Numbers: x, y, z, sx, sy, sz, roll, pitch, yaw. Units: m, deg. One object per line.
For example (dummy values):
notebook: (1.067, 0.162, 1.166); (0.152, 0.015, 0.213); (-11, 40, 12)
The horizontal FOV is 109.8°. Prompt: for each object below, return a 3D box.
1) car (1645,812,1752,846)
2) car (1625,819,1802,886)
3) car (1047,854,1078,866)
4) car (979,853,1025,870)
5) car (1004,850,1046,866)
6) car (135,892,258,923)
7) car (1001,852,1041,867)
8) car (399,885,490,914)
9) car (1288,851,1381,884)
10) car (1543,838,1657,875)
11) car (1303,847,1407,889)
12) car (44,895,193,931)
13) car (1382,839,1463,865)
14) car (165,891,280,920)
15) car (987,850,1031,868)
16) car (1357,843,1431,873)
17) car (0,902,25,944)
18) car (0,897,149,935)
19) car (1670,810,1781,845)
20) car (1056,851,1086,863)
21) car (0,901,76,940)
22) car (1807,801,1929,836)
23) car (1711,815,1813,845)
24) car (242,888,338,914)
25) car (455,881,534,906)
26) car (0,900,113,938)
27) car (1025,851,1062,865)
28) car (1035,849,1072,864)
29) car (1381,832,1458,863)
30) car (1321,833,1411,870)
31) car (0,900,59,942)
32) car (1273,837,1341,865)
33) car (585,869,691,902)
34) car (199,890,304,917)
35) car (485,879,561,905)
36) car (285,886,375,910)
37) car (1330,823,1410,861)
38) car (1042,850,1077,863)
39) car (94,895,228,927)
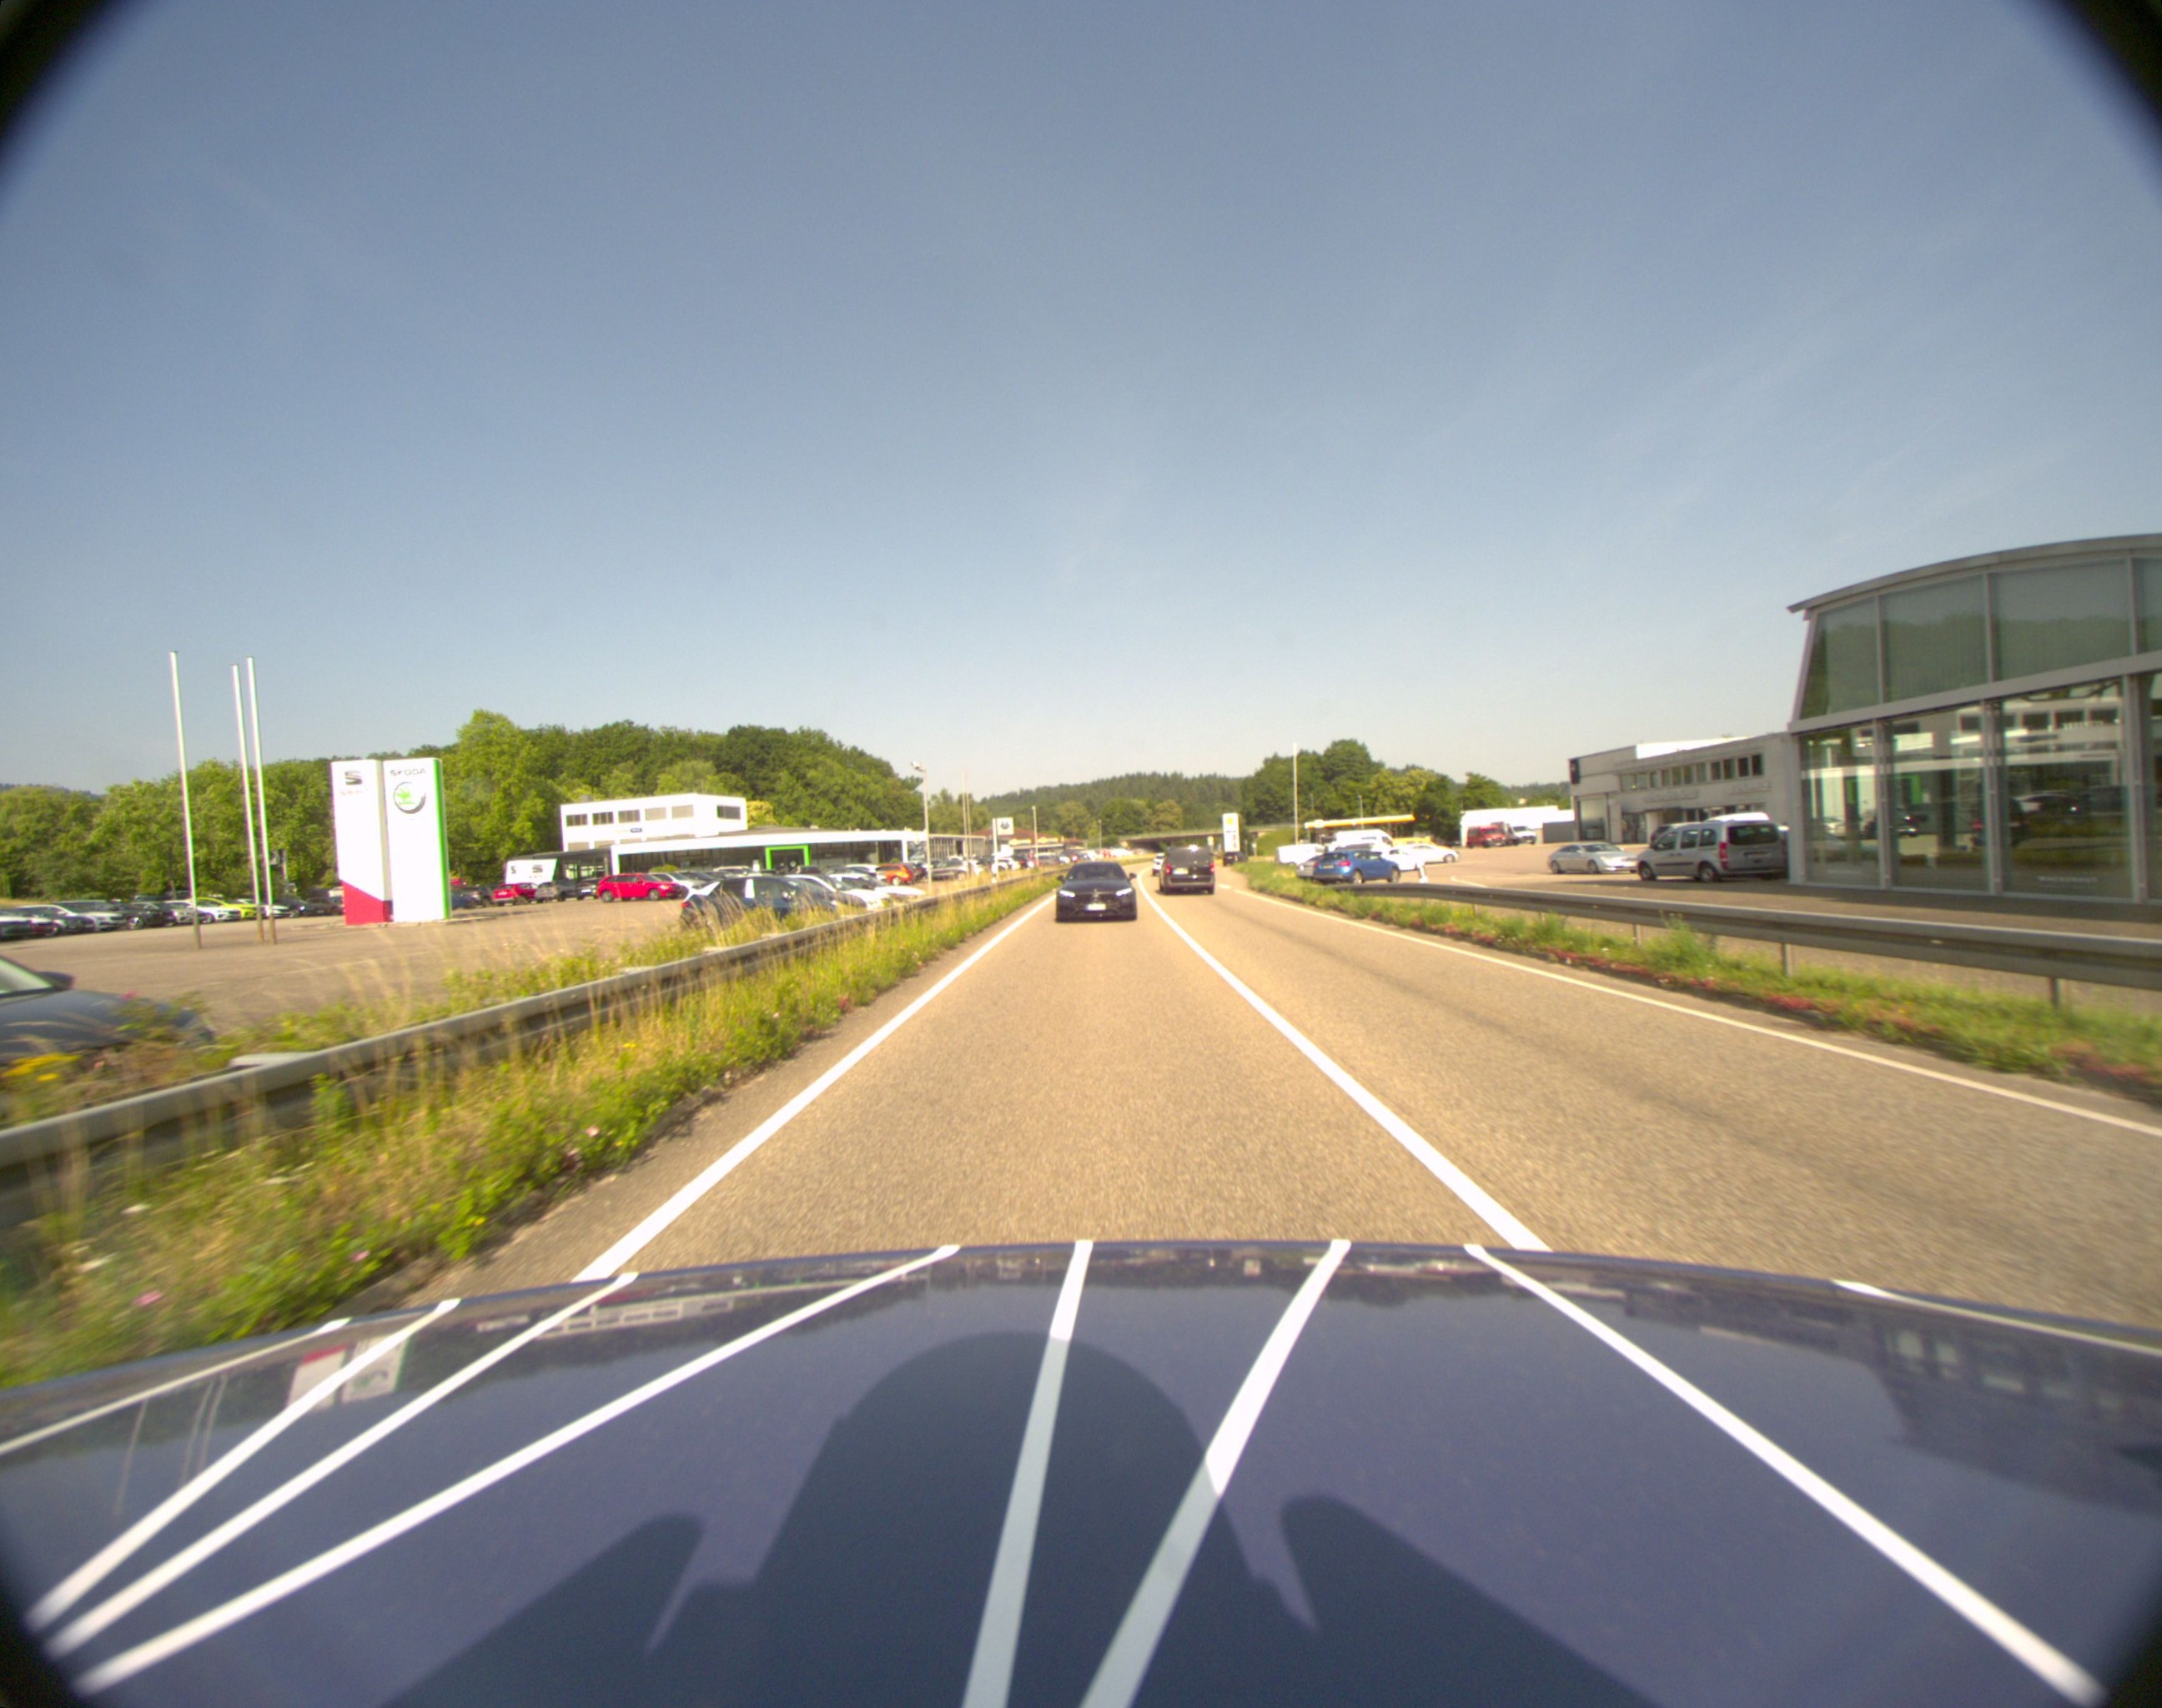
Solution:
car: (39.226, -1.564, 48.373); (4.825, 1.843, 2.212); (-3, -1, 6)
car: (18.634, -0.016, 22.688); (1.809, 1.703, 4.410); (-3, -1, 5)
car: (-2.373, 0.786, 97.968); (3.737, 1.398, 1.824); (-2, 1, 9)
car: (-7.617, 0.754, 73.248); (4.041, 1.477, 1.724); (-1, 1, 14)
car: (-6.043, 0.454, 82.036); (4.090, 1.543, 1.782); (-1, 1, 10)
car: (-54.145, 3.250, 46.585); (4.753, 1.537, 1.774); (-2, 1, -12)
car: (-6.257, 0.588, 79.285); (3.738, 1.450, 1.666); (-1, 1, 10)
car: (-41.769, 2.928, 50.005); (1.837, 1.537, 4.465); (-1, 1, 7)
car: (11.826, 0.609, 35.298); (4.402, 1.359, 1.849); (-2, 0, -36)
car: (22.084, 0.126, 32.604); (1.809, 1.378, 4.833); (-3, -1, 4)
car: (11.398, 0.550, 31.500); (4.240, 1.498, 1.980); (-2, 0, -36)
car: (-51.919, 3.157, 41.105); (4.755, 1.537, 1.773); (-2, 1, -19)
car: (22.733, -0.156, 50.758); (4.475, 1.390, 1.967); (-4, 0, 4)
car: (-55.166, 3.264, 48.902); (4.752, 1.537, 1.775); (-2, 1, -10)
car: (-7.144, 0.513, 75.453); (3.884, 1.654, 1.842); (-1, 1, 14)
car: (17.919, 0.213, 43.435); (4.237, 1.395, 1.893); (-4, 1, -36)
car: (-46.170, 2.906, 30.066); (4.757, 1.625, 1.928); (-2, 1, -23)
car: (-51.216, 3.130, 38.494); (4.756, 1.537, 1.773); (-2, 1, -20)
car: (39.034, -1.577, 46.126); (4.825, 1.843, 1.954); (-3, 0, 6)
car: (-1.281, 0.413, 101.638); (3.740, 1.420, 1.780); (-2, 1, 9)
car: (-49.208, 3.067, 34.040); (4.757, 1.537, 1.773); (-2, 1, -23)
car: (42.586, -1.883, 41.311); (1.809, 1.556, 4.833); (-3, -1, 4)
car: (37.733, -1.318, 42.280); (1.809, 1.483, 4.568); (-3, 1, 4)
car: (-56.385, 3.338, 54.206); (4.749, 1.537, 1.776); (-2, 1, -3)
car: (-42.811, 2.850, 55.568); (1.837, 1.537, 4.465); (-1, 1, 9)
car: (-50.148, 3.124, 36.147); (4.756, 1.537, 1.773); (-2, 1, -21)
car: (-4.227, 0.463, 86.289); (3.844, 1.450, 1.747); (-2, 1, 11)
car: (-3.334, 0.250, 92.302); (3.993, 1.622, 1.923); (-2, 1, 14)
car: (23.673, -0.451, 53.295); (4.390, 1.797, 2.002); (-5, 0, 4)
car: (18.111, -0.143, 48.525); (4.803, 1.970, 2.229); (-5, 0, 4)
car: (-47.735, 2.957, 32.286); (4.756, 1.625, 1.928); (-2, 1, -21)
car: (17.657, -0.214, 59.544); (4.681, 1.847, 2.144); (-4, 0, 4)
car: (-24.148, 1.703, 41.478); (4.745, 1.556, 1.932); (-1, 1, 7)
car: (-56.077, 3.330, 51.433); (4.751, 1.537, 1.775); (-2, 1, -7)
car: (-40.381, 2.735, 55.161); (2.002, 1.537, 4.610); (-1, 1, 1)
car: (-56.123, 3.299, 56.829); (4.749, 1.537, 1.776); (-2, 1, -3)
car: (24.303, -1.027, 64.054); (5.733, 2.729, 2.286); (-4, 1, 5)
car: (-2.723, 0.261, 95.692); (3.994, 1.444, 1.952); (-2, 1, 9)
car: (-53.270, 3.272, 44.098); (4.753, 1.537, 1.837); (-2, 1, -13)
